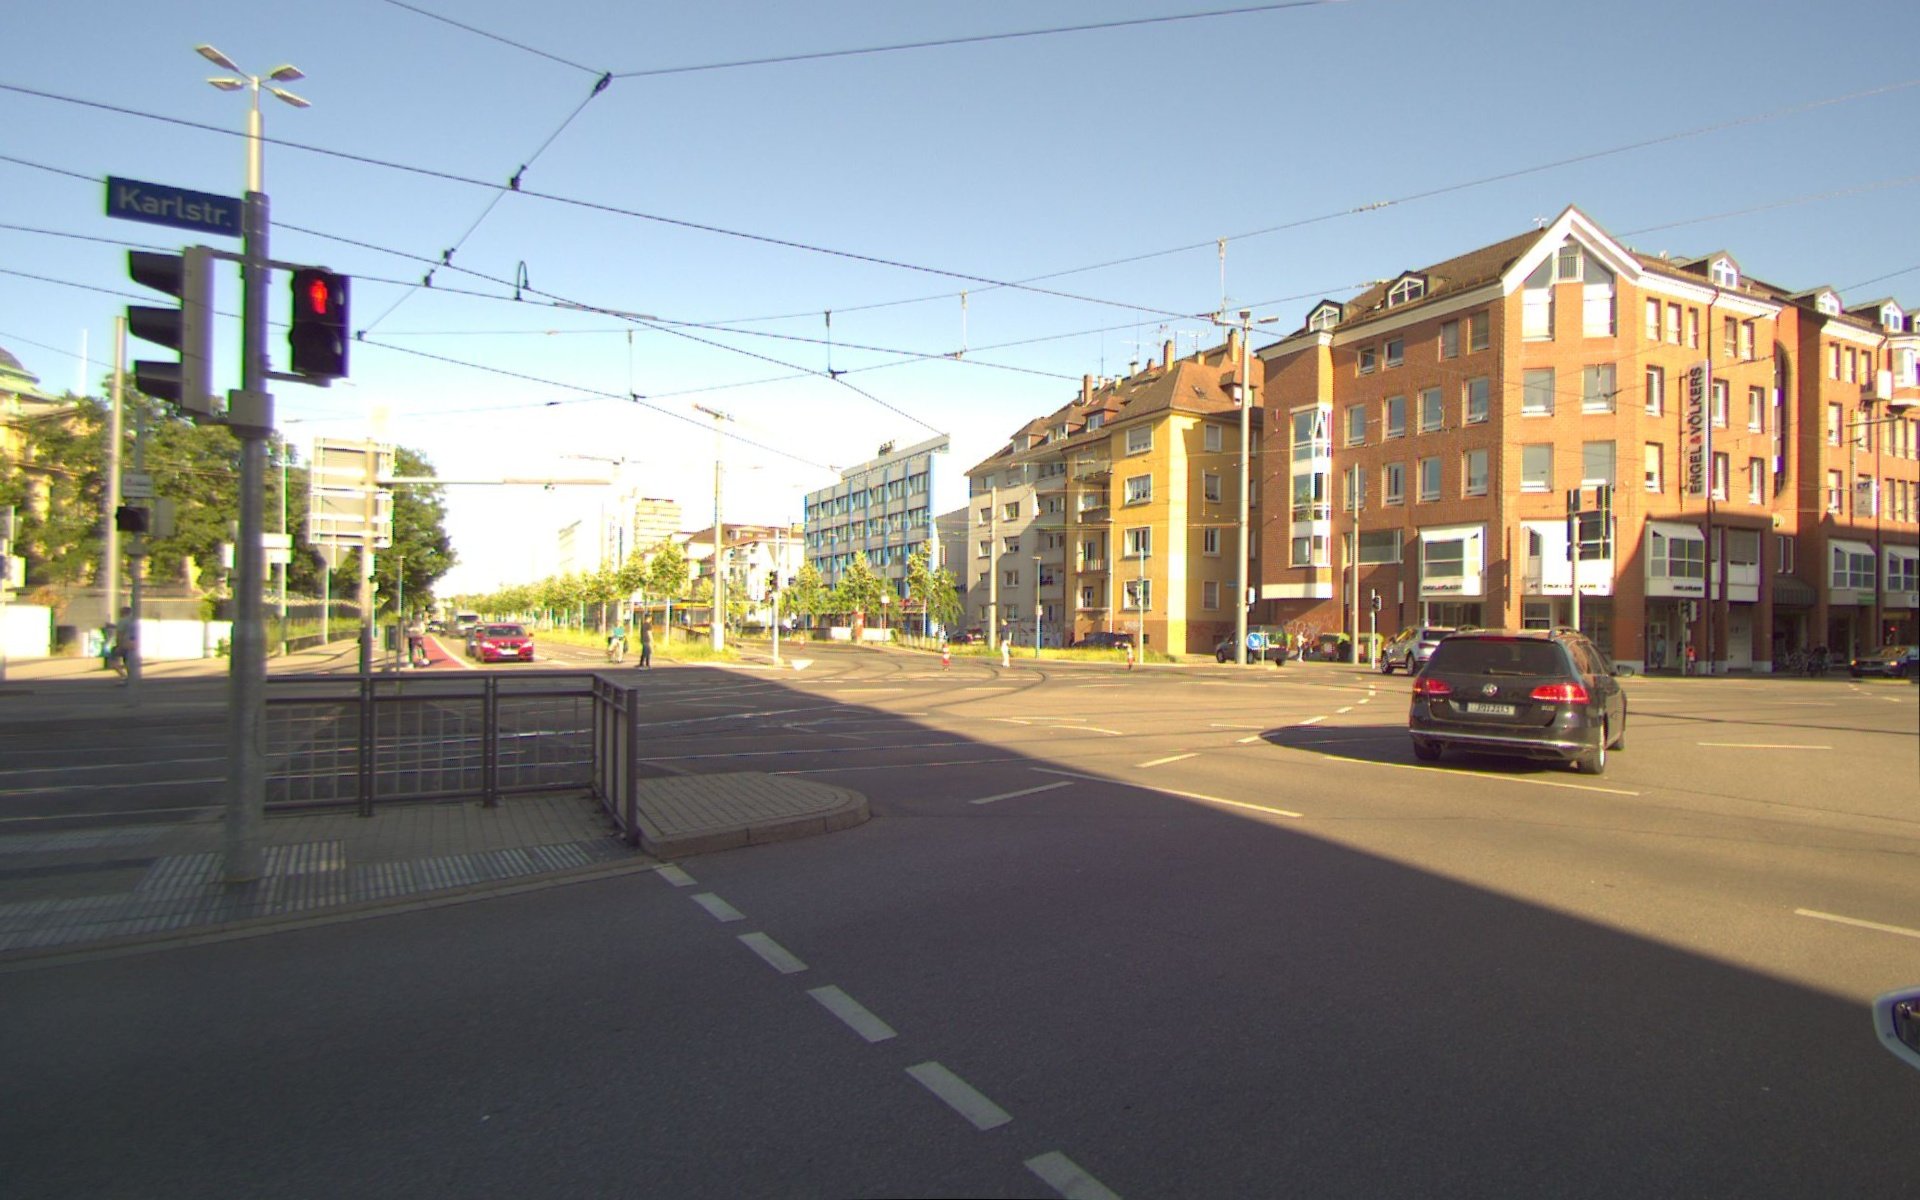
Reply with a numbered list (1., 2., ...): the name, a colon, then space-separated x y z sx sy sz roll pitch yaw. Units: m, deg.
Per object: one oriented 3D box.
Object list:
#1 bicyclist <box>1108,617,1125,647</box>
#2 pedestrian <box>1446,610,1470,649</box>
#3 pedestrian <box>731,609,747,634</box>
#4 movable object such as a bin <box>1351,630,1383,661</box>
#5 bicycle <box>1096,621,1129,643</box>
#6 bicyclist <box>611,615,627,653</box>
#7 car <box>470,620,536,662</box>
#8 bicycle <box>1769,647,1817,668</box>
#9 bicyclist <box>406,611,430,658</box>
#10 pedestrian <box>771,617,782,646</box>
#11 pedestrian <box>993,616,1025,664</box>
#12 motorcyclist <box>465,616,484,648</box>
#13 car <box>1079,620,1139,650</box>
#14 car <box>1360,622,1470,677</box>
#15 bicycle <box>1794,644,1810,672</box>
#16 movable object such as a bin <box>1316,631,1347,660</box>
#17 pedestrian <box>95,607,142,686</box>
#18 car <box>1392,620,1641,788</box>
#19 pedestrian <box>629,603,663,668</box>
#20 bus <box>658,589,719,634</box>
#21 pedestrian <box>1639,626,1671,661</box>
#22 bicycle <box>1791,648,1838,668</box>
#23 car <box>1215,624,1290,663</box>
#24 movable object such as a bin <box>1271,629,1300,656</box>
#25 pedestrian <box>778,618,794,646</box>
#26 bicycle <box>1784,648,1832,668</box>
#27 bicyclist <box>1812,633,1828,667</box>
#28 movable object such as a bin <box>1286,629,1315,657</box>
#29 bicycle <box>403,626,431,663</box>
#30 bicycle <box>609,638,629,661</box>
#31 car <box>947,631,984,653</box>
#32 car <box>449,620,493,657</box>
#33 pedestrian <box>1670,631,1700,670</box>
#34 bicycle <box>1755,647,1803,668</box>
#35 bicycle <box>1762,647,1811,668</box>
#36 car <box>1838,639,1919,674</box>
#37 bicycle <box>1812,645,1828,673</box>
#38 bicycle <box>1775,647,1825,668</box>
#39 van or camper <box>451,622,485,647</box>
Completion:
1. bicyclist: 9.479 1.949 60.903 0.609 1.795 0.820 1 0 -40
2. pedestrian: 22.708 1.351 45.792 0.703 1.750 0.684 1 0 -31
3. pedestrian: -18.317 1.806 83.163 0.916 2.037 1.001 1 0 -37
4. movable object such as a bin: 20.100 2.247 49.630 1.084 1.456 0.990 1 0 -31
5. bicycle: 9.276 1.929 61.086 0.624 1.239 2.015 1 0 -42
6. bicyclist: -12.188 1.225 35.899 0.396 1.333 0.455 1 0 -38
7. car: -17.473 1.542 38.305 1.763 1.529 4.526 1 -2 -32
8. bicycle: 39.758 2.756 47.937 0.514 0.912 1.705 1 0 -25
9. bicyclist: -17.866 1.142 33.090 0.604 1.513 0.610 1 0 -36
10. pedestrian: -13.395 2.283 73.274 0.788 2.037 0.806 1 0 -11
11. pedestrian: 1.804 1.467 36.770 0.919 1.733 0.692 1 0 -29
12. motorcyclist: -23.807 1.546 49.246 0.773 1.544 0.916 1 0 -29
13. car: 8.336 1.974 56.609 1.708 1.572 3.451 1 -1 -26
14. car: 14.979 1.596 33.282 1.810 1.656 3.483 1 0 -6
15. bicycle: 37.978 2.605 45.304 0.484 1.173 1.709 1 0 38
16. movable object such as a bin: 19.107 2.350 51.675 1.084 1.456 0.990 1 0 -31
17. pedestrian: -18.628 1.014 22.252 0.698 1.711 0.620 -1 1 -34
18. car: 6.482 0.989 11.425 1.743 1.463 4.509 0 0 39
19. pedestrian: -9.697 1.096 31.040 0.782 1.959 0.725 1 0 -2
20. bus: -23.021 0.931 84.829 2.915 3.611 9.360 1 -1 -28
21. pedestrian: 32.791 2.048 47.402 0.846 1.589 0.887 1 0 -1
22. bicycle: 41.480 2.809 48.781 0.514 0.912 1.705 1 0 -25
23. car: 13.304 1.948 45.865 1.551 1.639 3.772 1 -1 -15
24. movable object such as a bin: 17.681 2.305 54.594 1.084 1.456 0.990 1 0 -31
25. pedestrian: -12.620 2.300 72.819 0.795 2.037 0.799 1 0 -37
26. bicycle: 40.944 2.792 48.528 0.514 0.912 1.705 1 0 -25
27. bicyclist: 38.386 2.211 44.842 0.476 1.490 0.716 1 0 39
28. movable object such as a bin: 18.210 2.307 53.666 1.084 1.456 0.990 1 0 -31
29. bicycle: -17.867 1.460 33.057 0.606 1.148 1.485 1 0 -36
30. bicycle: -12.194 1.777 35.881 0.317 0.774 1.163 1 0 -38
31. car: 0.435 3.370 80.441 1.544 1.639 3.293 1 -1 -28
32. car: -21.647 1.694 44.445 1.556 1.491 3.684 1 -1 -29
33. pedestrian: 31.702 2.203 43.930 0.766 1.616 0.710 1 2 -24
34. bicycle: 38.662 2.715 47.414 0.514 0.912 1.705 1 0 -25
35. bicycle: 39.229 2.725 47.692 0.514 0.912 1.705 1 0 -25
36. car: 40.487 2.451 43.730 3.918 1.473 1.815 1 -2 -21
37. bicycle: 38.414 2.630 44.878 0.484 1.173 1.675 1 0 38
38. bicycle: 40.285 2.761 48.197 0.578 0.912 1.754 1 0 -25
39. van or camper: -43.548 3.008 88.845 1.962 2.027 4.311 1 -1 -37
